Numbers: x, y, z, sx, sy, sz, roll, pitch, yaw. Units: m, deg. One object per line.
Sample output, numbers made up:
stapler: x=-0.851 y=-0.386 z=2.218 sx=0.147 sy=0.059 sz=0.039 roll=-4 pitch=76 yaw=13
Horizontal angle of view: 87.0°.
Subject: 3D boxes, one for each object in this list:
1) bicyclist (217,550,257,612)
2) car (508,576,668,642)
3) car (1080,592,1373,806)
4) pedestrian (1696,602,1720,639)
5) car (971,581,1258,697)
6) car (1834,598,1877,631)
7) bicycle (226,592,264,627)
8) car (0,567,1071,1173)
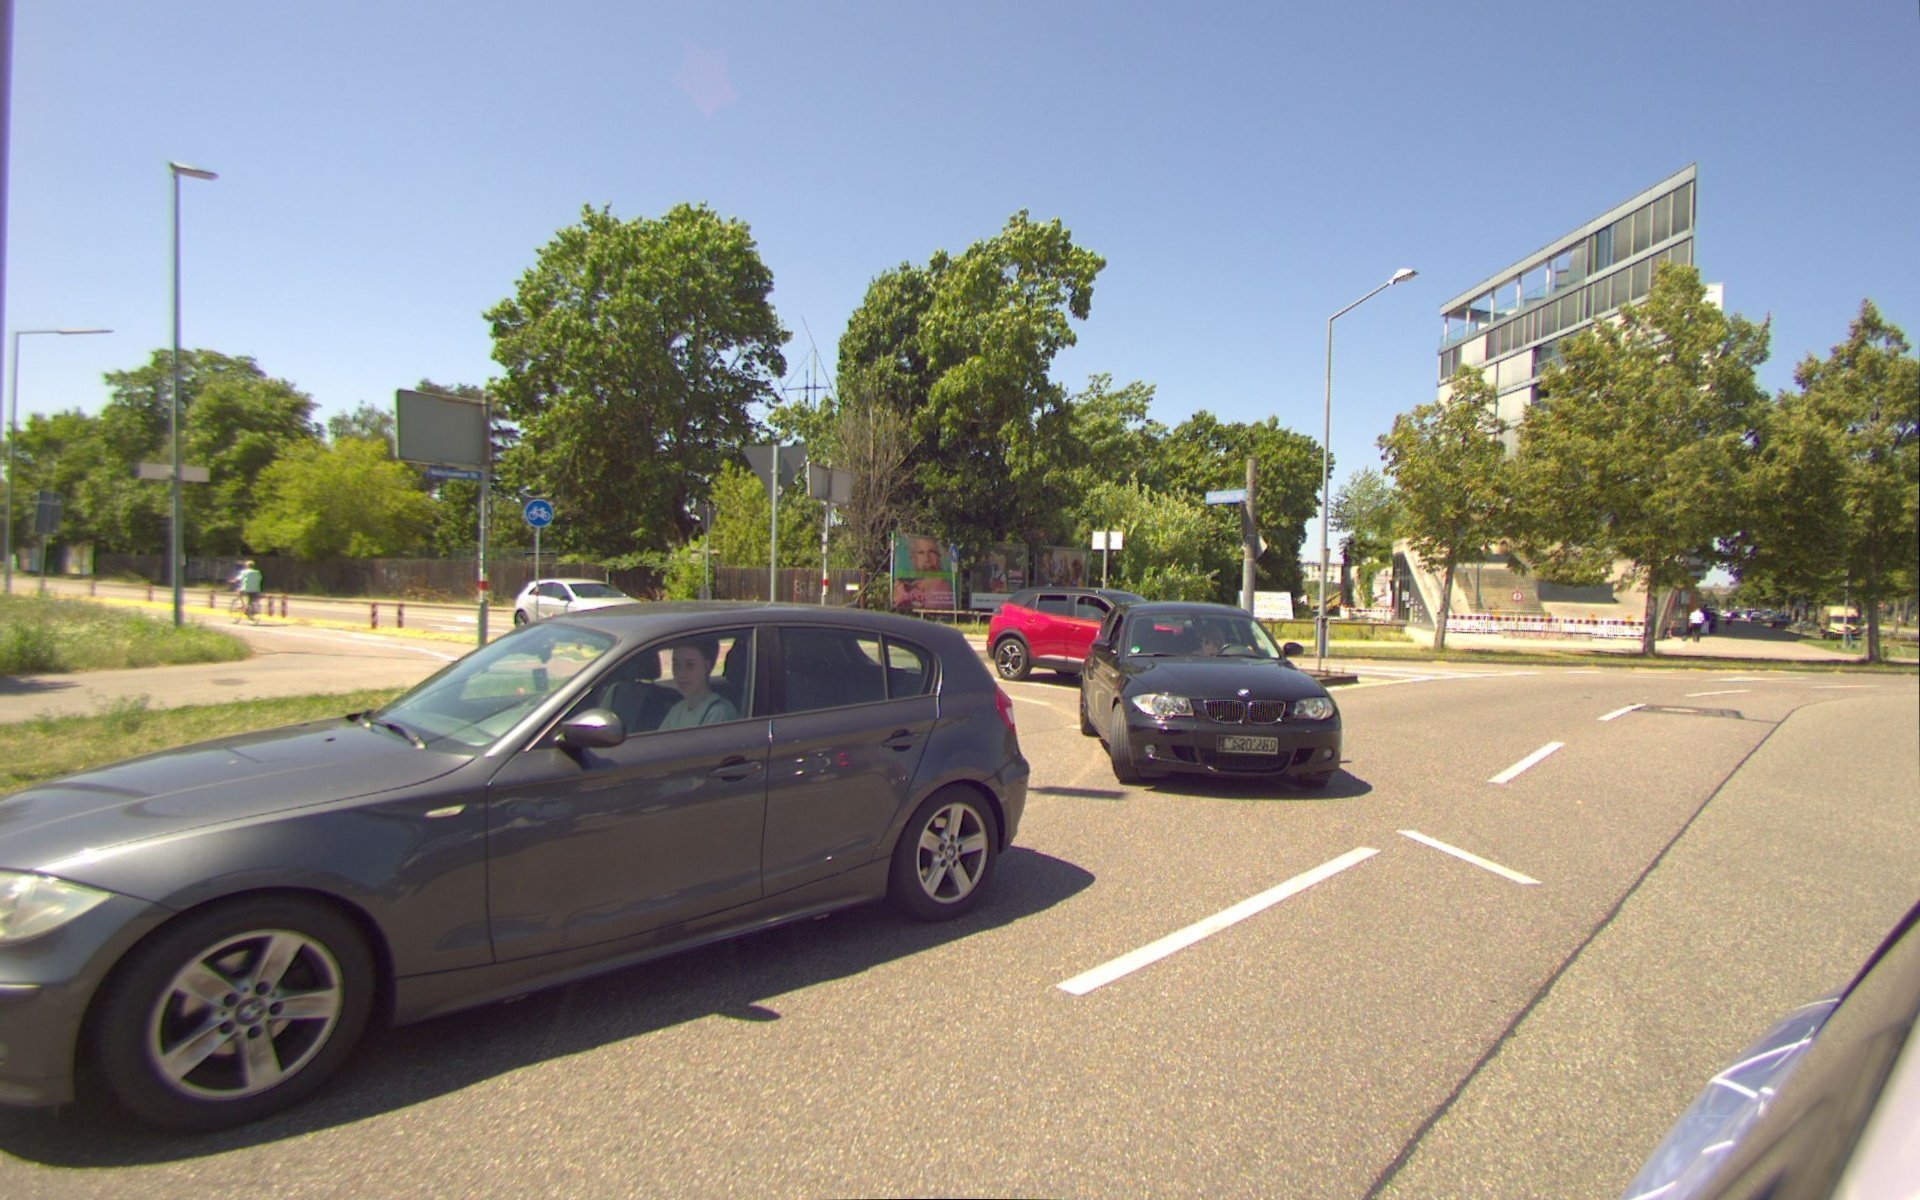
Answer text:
bicyclist: x=-19.732 y=-0.515 z=27.631 sx=0.733 sy=1.661 sz=1.164 roll=1 pitch=0 yaw=-30
car: x=-9.274 y=0.161 z=25.130 sx=3.976 sy=1.446 sz=1.840 roll=2 pitch=2 yaw=36
car: x=2.099 y=0.675 z=9.111 sx=1.770 sy=1.458 sz=3.997 roll=0 pitch=1 yaw=3
pedestrian: x=39.557 y=1.097 z=53.539 sx=0.601 sy=1.892 sz=0.834 roll=0 pitch=2 yaw=-40
car: x=2.361 y=0.514 z=16.007 sx=4.187 sy=1.546 sz=1.699 roll=2 pitch=1 yaw=37
car: x=71.632 y=1.164 z=81.010 sx=1.986 sy=2.540 sz=3.952 roll=2 pitch=0 yaw=33
bicycle: x=-19.591 y=0.248 z=27.757 sx=0.616 sy=0.890 sz=1.879 roll=1 pitch=2 yaw=-28
car: x=-1.534 y=0.637 z=4.200 sx=4.010 sy=1.421 sz=1.750 roll=1 pitch=0 yaw=-42
